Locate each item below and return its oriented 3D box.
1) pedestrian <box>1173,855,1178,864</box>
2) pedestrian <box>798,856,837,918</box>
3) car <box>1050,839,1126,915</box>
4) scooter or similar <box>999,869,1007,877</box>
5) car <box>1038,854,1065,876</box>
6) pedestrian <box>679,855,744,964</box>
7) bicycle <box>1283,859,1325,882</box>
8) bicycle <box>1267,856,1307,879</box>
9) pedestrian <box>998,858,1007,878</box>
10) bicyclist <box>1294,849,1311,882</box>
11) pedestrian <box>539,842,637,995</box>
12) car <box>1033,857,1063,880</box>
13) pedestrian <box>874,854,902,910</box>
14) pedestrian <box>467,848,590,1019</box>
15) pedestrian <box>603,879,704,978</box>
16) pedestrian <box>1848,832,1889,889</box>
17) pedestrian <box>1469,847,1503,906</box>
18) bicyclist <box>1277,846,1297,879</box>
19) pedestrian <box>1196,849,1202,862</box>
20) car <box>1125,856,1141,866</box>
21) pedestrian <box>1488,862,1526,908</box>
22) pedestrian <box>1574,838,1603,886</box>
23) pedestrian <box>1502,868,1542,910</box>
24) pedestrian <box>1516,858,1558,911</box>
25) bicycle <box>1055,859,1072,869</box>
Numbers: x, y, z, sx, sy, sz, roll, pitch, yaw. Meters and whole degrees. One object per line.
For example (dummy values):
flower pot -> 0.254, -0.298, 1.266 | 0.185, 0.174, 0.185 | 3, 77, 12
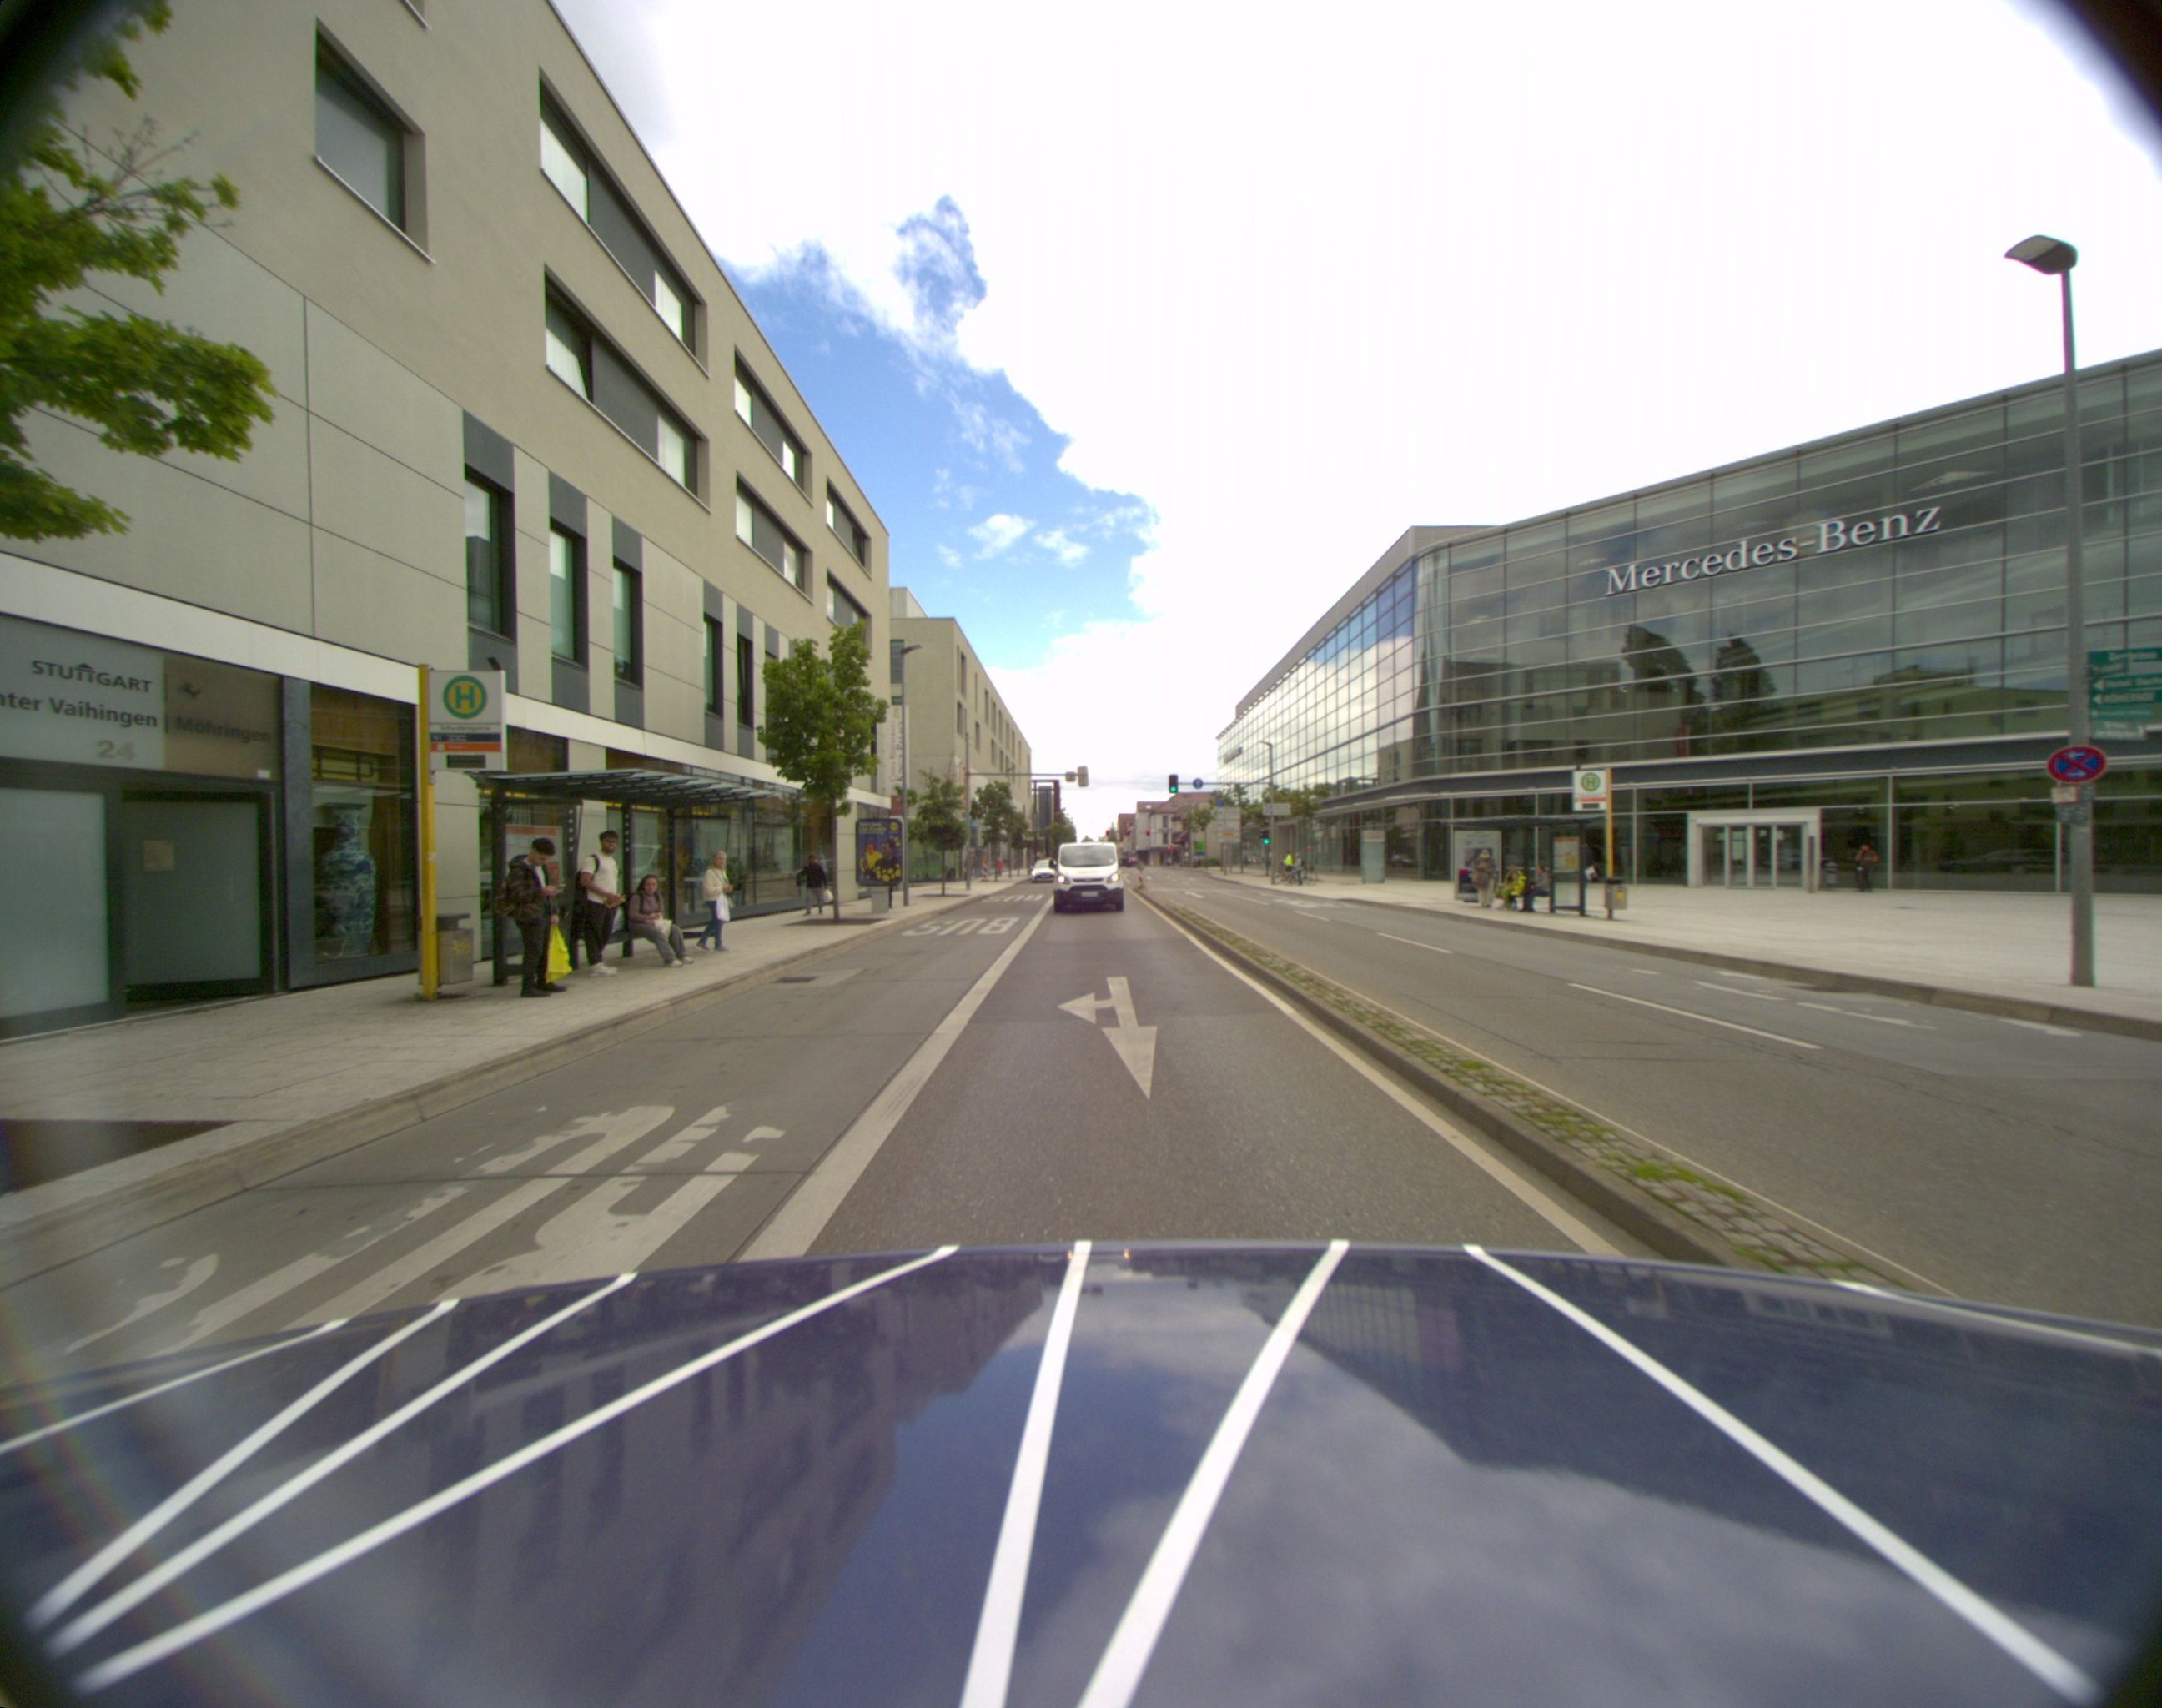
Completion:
pedestrian -> 15.621, 0.851, 125.593 | 0.555, 1.507, 0.582 | 0, 1, -32
pedestrian -> -6.914, 0.850, 19.968 | 0.742, 1.599, 0.715 | 0, 1, 1
car -> 0.220, 0.608, 23.032 | 2.000, 1.976, 5.000 | -2, 0, 1
scooter or similar -> -6.300, 1.547, 61.240 | 0.552, 0.630, 0.767 | 1, 0, 1
car -> -2.164, 0.775, 56.622 | 1.741, 1.533, 4.790 | -2, 0, 1
pedestrian -> -5.615, 0.818, 11.577 | 0.580, 1.581, 0.733 | 1, 1, 6
bicycle -> 11.582, 0.845, 39.513 | 2.002, 1.124, 0.639 | -2, 1, 16
bicycle -> 11.512, 0.771, 42.444 | 2.025, 1.199, 0.749 | -2, 1, 45
pedestrian -> -6.263, 1.093, 60.381 | 0.590, 1.558, 0.732 | 1, 0, 1
bicyclist -> 11.534, 0.592, 39.508 | 0.783, 1.639, 0.639 | -2, 1, 16
pedestrian -> -5.926, 0.737, 9.167 | 0.580, 1.759, 0.857 | 1, 1, 6
car -> -2.132, 0.929, 50.156 | 1.787, 1.417, 4.514 | -1, 0, 0
pedestrian -> -5.804, 0.826, 22.832 | 0.656, 1.659, 0.614 | 0, 1, 1
pedestrian -> -5.686, 0.783, 7.856 | 0.722, 1.674, 0.733 | 1, 1, 6
pedestrian -> -5.762, 0.984, 10.281 | 0.945, 1.252, 0.732 | 1, 1, -2
pedestrian -> 27.663, 0.225, 26.694 | 0.687, 1.934, 0.749 | -2, 1, -12
pedestrian -> 11.342, 0.624, 21.271 | 0.688, 1.622, 0.574 | 0, 1, -40
bicyclist -> 11.500, 0.474, 42.442 | 0.772, 1.789, 0.749 | -2, 1, 45
pedestrian -> 14.945, 0.155, 96.017 | 0.702, 1.614, 0.693 | 0, 0, 1
car -> 7.749, 0.983, 113.597 | 1.803, 1.458, 3.998 | 0, 0, -5
pedestrian -> 11.570, 0.835, 20.655 | 0.686, 1.246, 0.576 | 0, 1, -1
pedestrian -> 21.162, 0.325, 31.668 | 0.904, 1.934, 0.748 | -2, 1, -38
pedestrian -> 11.621, 0.919, 20.037 | 0.686, 1.069, 0.576 | 2, 1, -1
pedestrian -> 11.611, 0.770, 19.365 | 0.686, 1.312, 0.576 | 1, 1, -1
bicycle -> -1.844, 1.067, 81.412 | 1.745, 1.093, 0.561 | 2, 0, -6
